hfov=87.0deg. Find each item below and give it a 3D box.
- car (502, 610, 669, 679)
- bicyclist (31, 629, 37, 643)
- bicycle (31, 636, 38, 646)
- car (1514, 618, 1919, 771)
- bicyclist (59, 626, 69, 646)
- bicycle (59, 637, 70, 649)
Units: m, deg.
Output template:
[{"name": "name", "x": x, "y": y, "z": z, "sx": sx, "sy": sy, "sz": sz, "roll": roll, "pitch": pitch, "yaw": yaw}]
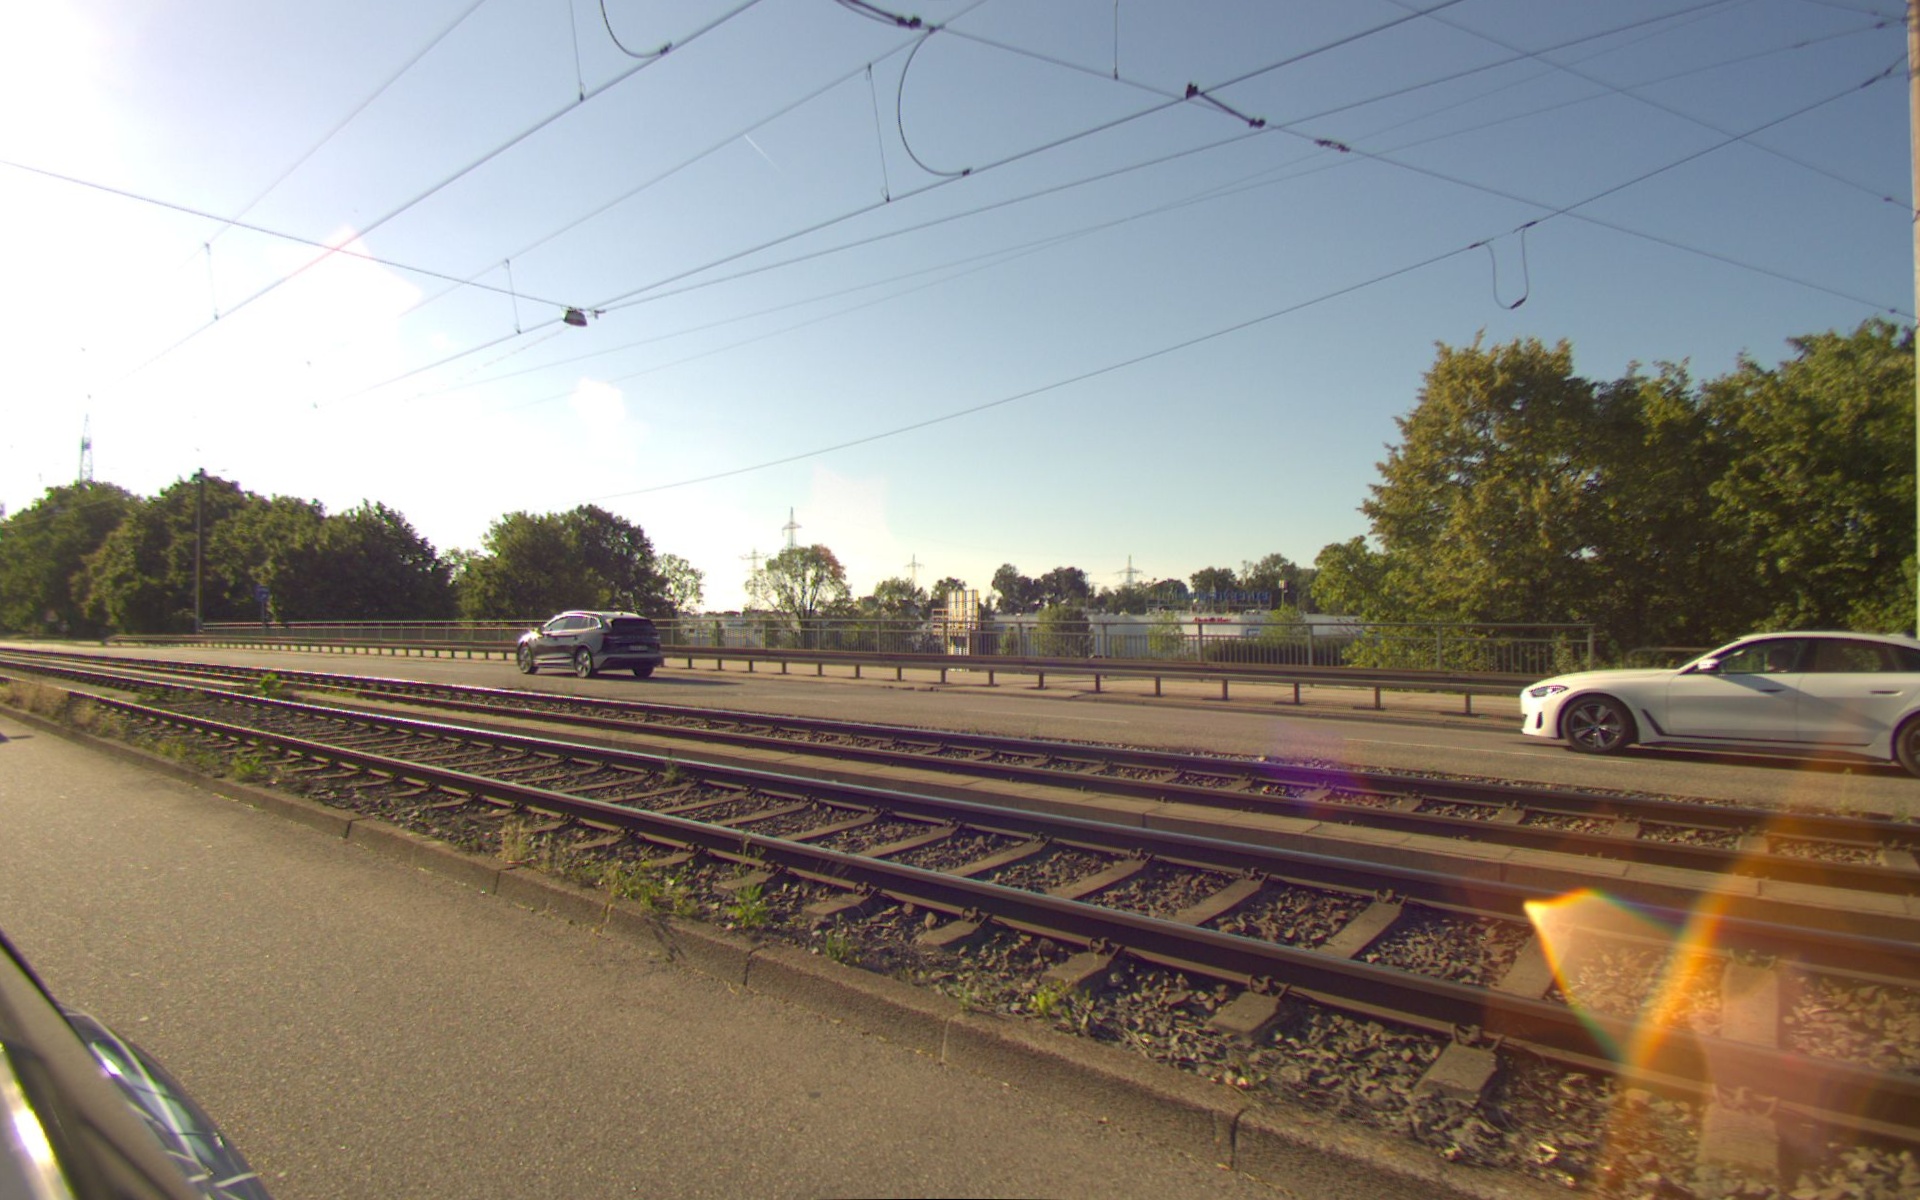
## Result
[{"name": "car", "x": -9.486, "y": 1.081, "z": 25.448, "sx": 4.795, "sy": 1.592, "sz": 1.692, "roll": -1, "pitch": -2, "yaw": 39}, {"name": "bicyclist", "x": -96.596, "y": 3.793, "z": 105.603, "sx": 0.417, "sy": 1.439, "sz": 0.755, "roll": 0, "pitch": 0, "yaw": -45}, {"name": "bicycle", "x": -96.531, "y": 4.259, "z": 105.553, "sx": 0.420, "sy": 0.971, "sz": 1.914, "roll": 0, "pitch": 0, "yaw": -45}, {"name": "car", "x": 8.828, "y": 0.948, "z": 10.841, "sx": 4.871, "sy": 1.425, "sz": 1.738, "roll": -1, "pitch": -3, "yaw": 38}, {"name": "bicyclist", "x": -82.615, "y": 3.318, "z": 93.305, "sx": 0.832, "sy": 1.764, "sz": 0.492, "roll": -1, "pitch": 0, "yaw": 39}, {"name": "bicycle", "x": -82.588, "y": 3.935, "z": 93.292, "sx": 1.726, "sy": 1.060, "sz": 0.499, "roll": -1, "pitch": 0, "yaw": 40}]
